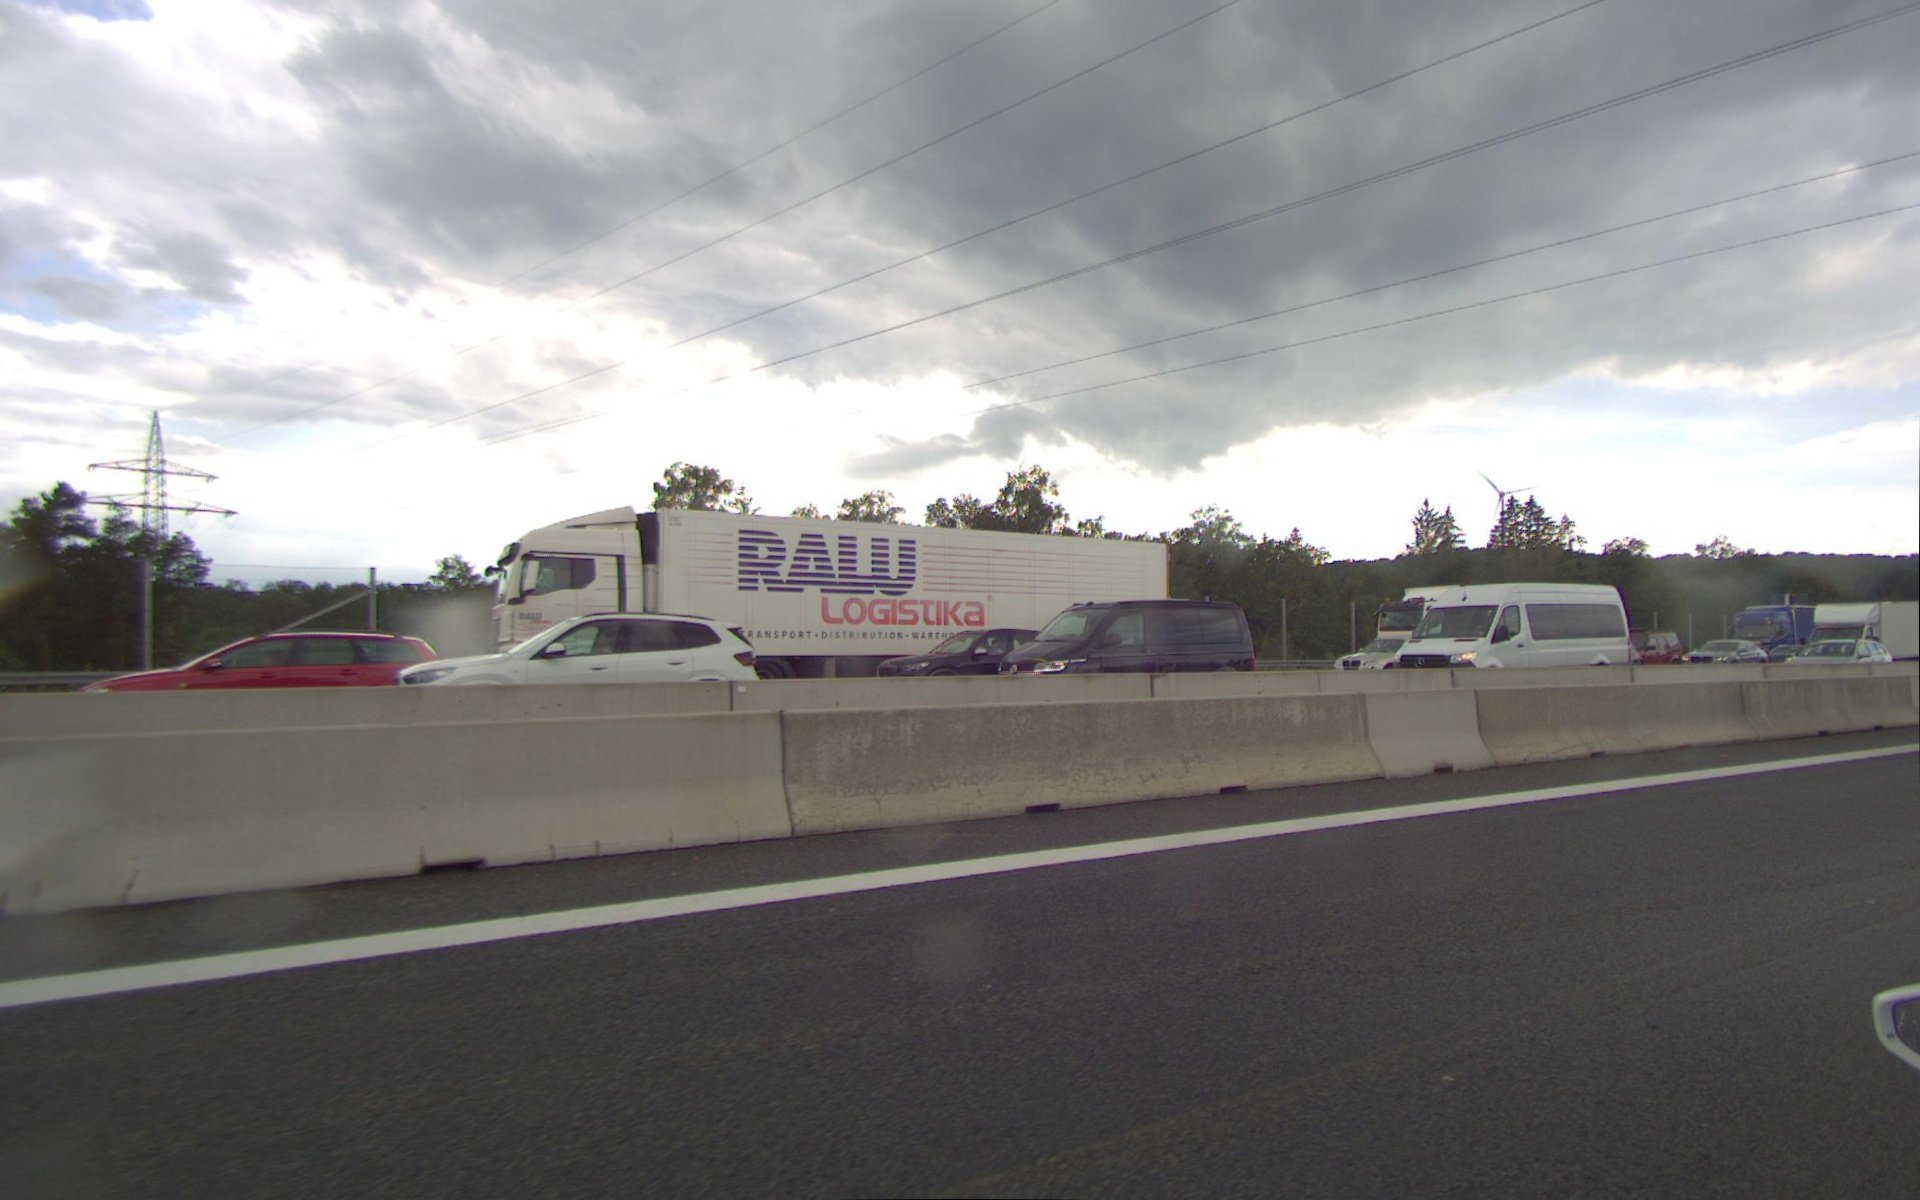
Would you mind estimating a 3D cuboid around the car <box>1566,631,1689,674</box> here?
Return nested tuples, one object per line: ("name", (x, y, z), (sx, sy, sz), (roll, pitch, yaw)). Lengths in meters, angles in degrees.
("car", (26.556, 2.072, 39.915), (5.439, 1.565, 1.905), (2, -1, -30))

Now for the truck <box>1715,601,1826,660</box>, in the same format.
("truck", (52.437, 1.941, 64.939), (7.575, 3.629, 3.123), (1, -1, -30))

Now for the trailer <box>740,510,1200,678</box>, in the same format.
("trailer", (0.631, -0.023, 25.123), (11.638, 3.479, 3.010), (1, 0, -30))

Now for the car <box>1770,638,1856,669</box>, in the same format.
("car", (47.519, 2.956, 55.947), (5.549, 1.565, 1.904), (2, 0, -30))

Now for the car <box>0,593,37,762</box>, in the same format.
("car", (-11.476, 0.715, 8.699), (4.788, 1.645, 1.885), (1, 0, -30))

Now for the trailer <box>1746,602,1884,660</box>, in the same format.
("trailer", (58.362, 2.123, 68.398), (12.736, 3.629, 3.123), (2, -1, -30))

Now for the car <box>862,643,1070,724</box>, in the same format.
("car", (0.149, 1.642, 20.627), (3.953, 1.429, 1.743), (1, 0, -30))

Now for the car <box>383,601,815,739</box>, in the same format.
("car", (-4.578, 0.809, 13.055), (5.021, 1.497, 1.841), (1, 0, -30))

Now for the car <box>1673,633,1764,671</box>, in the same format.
("car", (34.112, 2.307, 45.155), (3.990, 1.565, 1.861), (2, 0, -30))

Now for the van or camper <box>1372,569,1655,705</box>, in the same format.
("van or camper", (12.837, 0.832, 23.056), (7.432, 2.741, 2.168), (2, 0, -30))

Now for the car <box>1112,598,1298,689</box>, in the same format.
("car", (5.935, 1.008, 24.313), (3.953, 2.027, 2.198), (1, 0, -30))

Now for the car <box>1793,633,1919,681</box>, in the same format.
("car", (28.005, 1.750, 31.363), (4.320, 1.352, 1.681), (2, -1, -30))

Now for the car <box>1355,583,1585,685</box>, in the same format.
("car", (22.317, 1.455, 43.599), (11.520, 3.999, 3.187), (2, -1, -30))

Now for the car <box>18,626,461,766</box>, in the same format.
("car", (-10.090, 1.264, 14.623), (4.942, 1.699, 1.885), (1, 0, -30))

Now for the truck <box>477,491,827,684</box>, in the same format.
("truck", (-6.362, -0.171, 20.940), (6.451, 3.451, 3.029), (1, 0, -30))

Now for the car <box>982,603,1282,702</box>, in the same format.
("car", (3.035, 0.845, 17.313), (5.111, 1.497, 1.871), (1, 0, -30))

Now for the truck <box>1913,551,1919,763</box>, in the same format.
("truck", (14.674, 0.707, 12.592), (7.279, 2.440, 2.339), (1, 0, -33))

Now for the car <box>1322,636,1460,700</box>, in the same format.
("car", (14.284, 2.191, 33.267), (4.390, 1.940, 1.984), (1, -1, -30))

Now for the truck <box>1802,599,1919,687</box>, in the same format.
("truck", (39.648, 1.844, 43.773), (7.403, 3.566, 2.173), (1, -1, -30))
